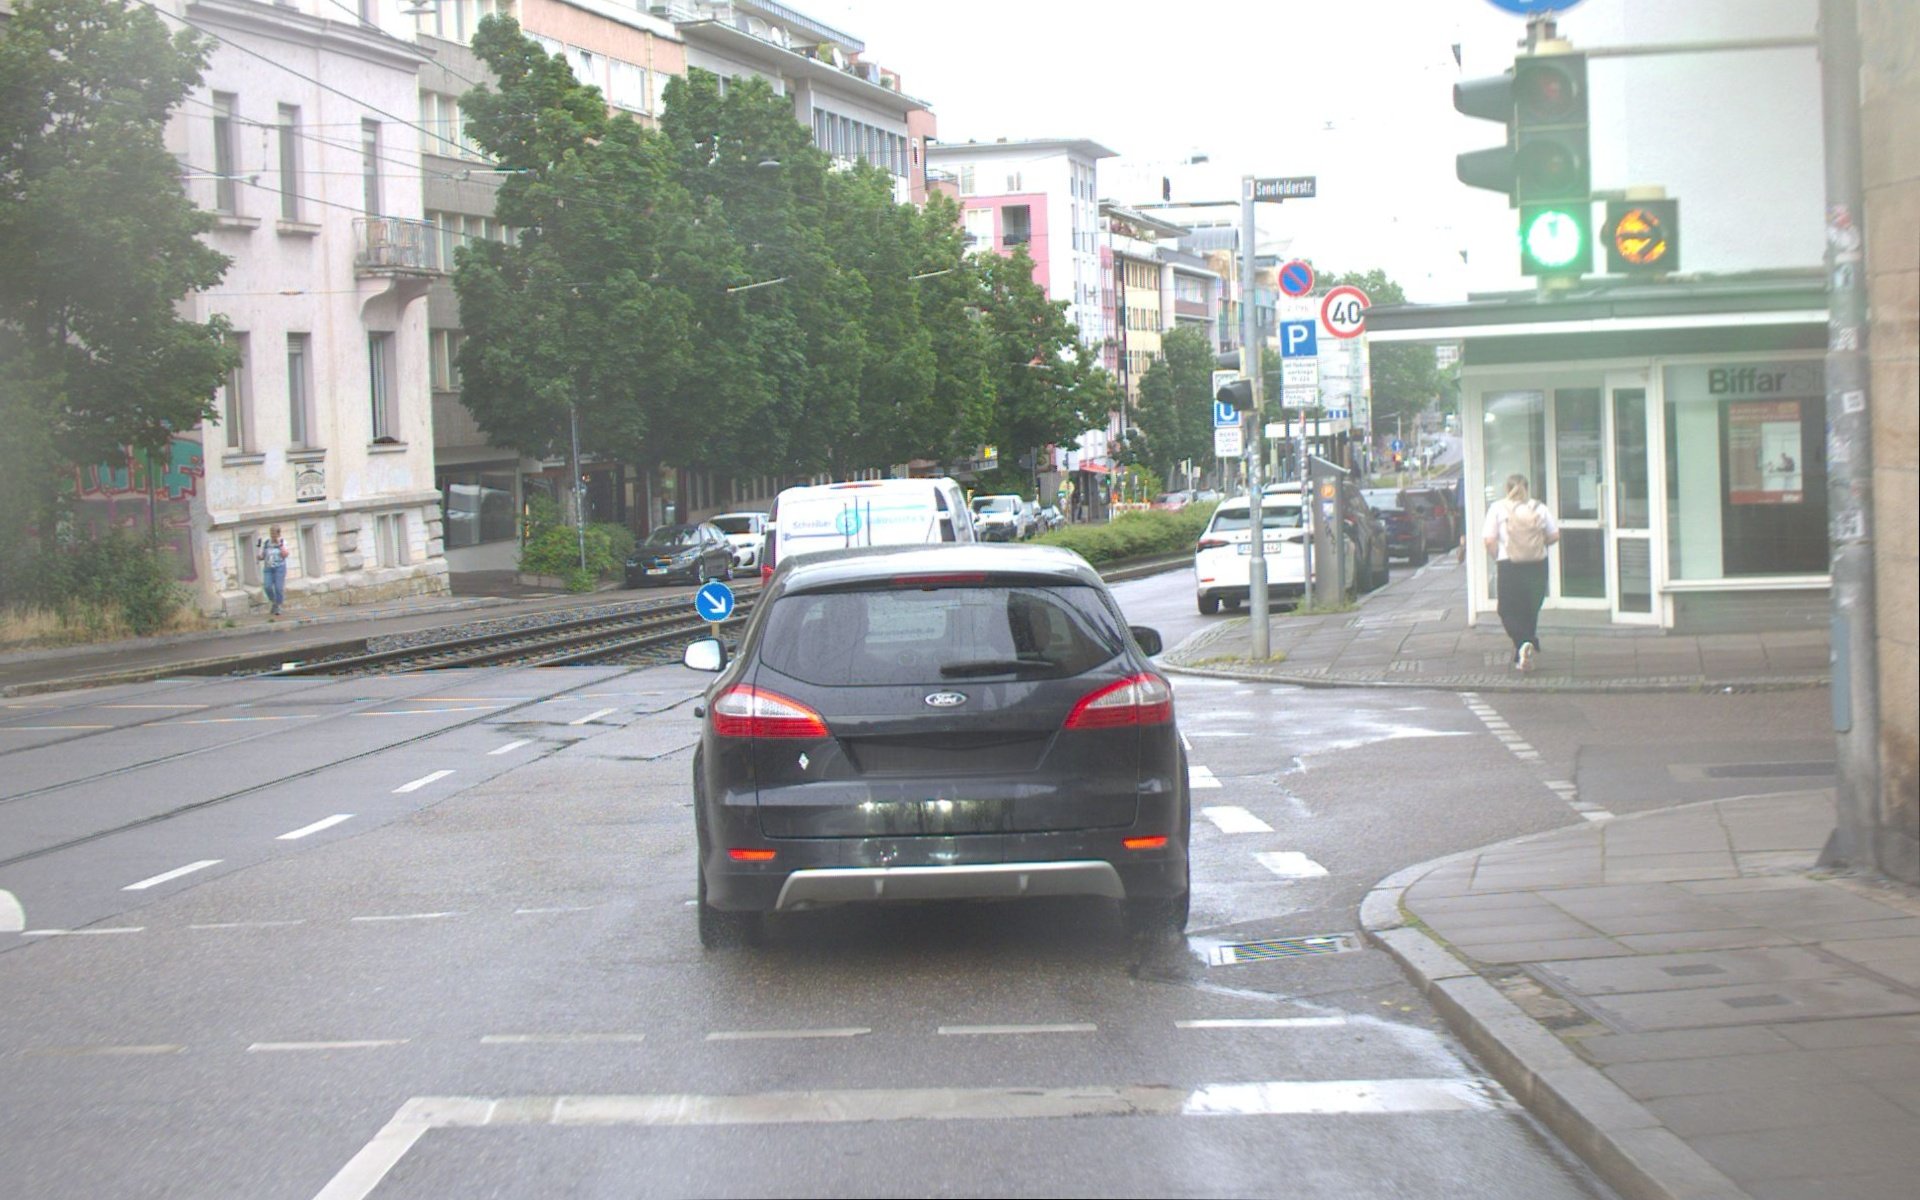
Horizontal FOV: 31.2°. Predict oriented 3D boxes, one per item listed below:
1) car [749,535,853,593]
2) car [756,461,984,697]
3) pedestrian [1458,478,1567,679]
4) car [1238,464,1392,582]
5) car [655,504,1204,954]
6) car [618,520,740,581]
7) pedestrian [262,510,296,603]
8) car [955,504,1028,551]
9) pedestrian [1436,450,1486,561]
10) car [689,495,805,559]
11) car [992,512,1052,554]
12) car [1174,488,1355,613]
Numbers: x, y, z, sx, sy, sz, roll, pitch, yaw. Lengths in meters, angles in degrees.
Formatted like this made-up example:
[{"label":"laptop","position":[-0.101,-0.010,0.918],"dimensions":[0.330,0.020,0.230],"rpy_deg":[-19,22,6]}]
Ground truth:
[{"label":"car","position":[-4.327,-0.980,94.082],"dimensions":[1.856,1.543,4.429],"rpy_deg":[0,0,11]},{"label":"car","position":[-0.819,-0.193,32.649],"dimensions":[1.988,2.053,4.645],"rpy_deg":[1,0,-1]},{"label":"pedestrian","position":[4.402,-0.170,27.432],"dimensions":[0.688,1.566,0.763],"rpy_deg":[-2,0,-1]},{"label":"car","position":[5.255,-1.092,50.496],"dimensions":[1.846,1.627,4.584],"rpy_deg":[-1,0,11]},{"label":"car","position":[-0.101,0.430,13.650],"dimensions":[1.842,1.502,4.000],"rpy_deg":[1,0,0]},{"label":"car","position":[-6.640,-1.151,81.723],"dimensions":[1.694,1.373,4.718],"rpy_deg":[0,0,11]},{"label":"pedestrian","position":[-12.214,-0.773,61.696],"dimensions":[0.467,1.646,0.582],"rpy_deg":[1,0,-1]},{"label":"car","position":[1.174,-2.663,126.989],"dimensions":[1.856,1.631,4.933],"rpy_deg":[0,0,11]},{"label":"pedestrian","position":[8.530,-1.615,58.500],"dimensions":[0.703,1.813,0.961],"rpy_deg":[-4,2,11]},{"label":"car","position":[-5.408,-1.843,87.831],"dimensions":[1.856,1.543,4.718],"rpy_deg":[0,0,11]},{"label":"car","position":[2.429,-2.579,133.461],"dimensions":[1.695,1.568,4.044],"rpy_deg":[0,0,11]},{"label":"car","position":[3.937,-0.613,43.865],"dimensions":[1.802,1.450,4.584],"rpy_deg":[-2,0,11]}]
